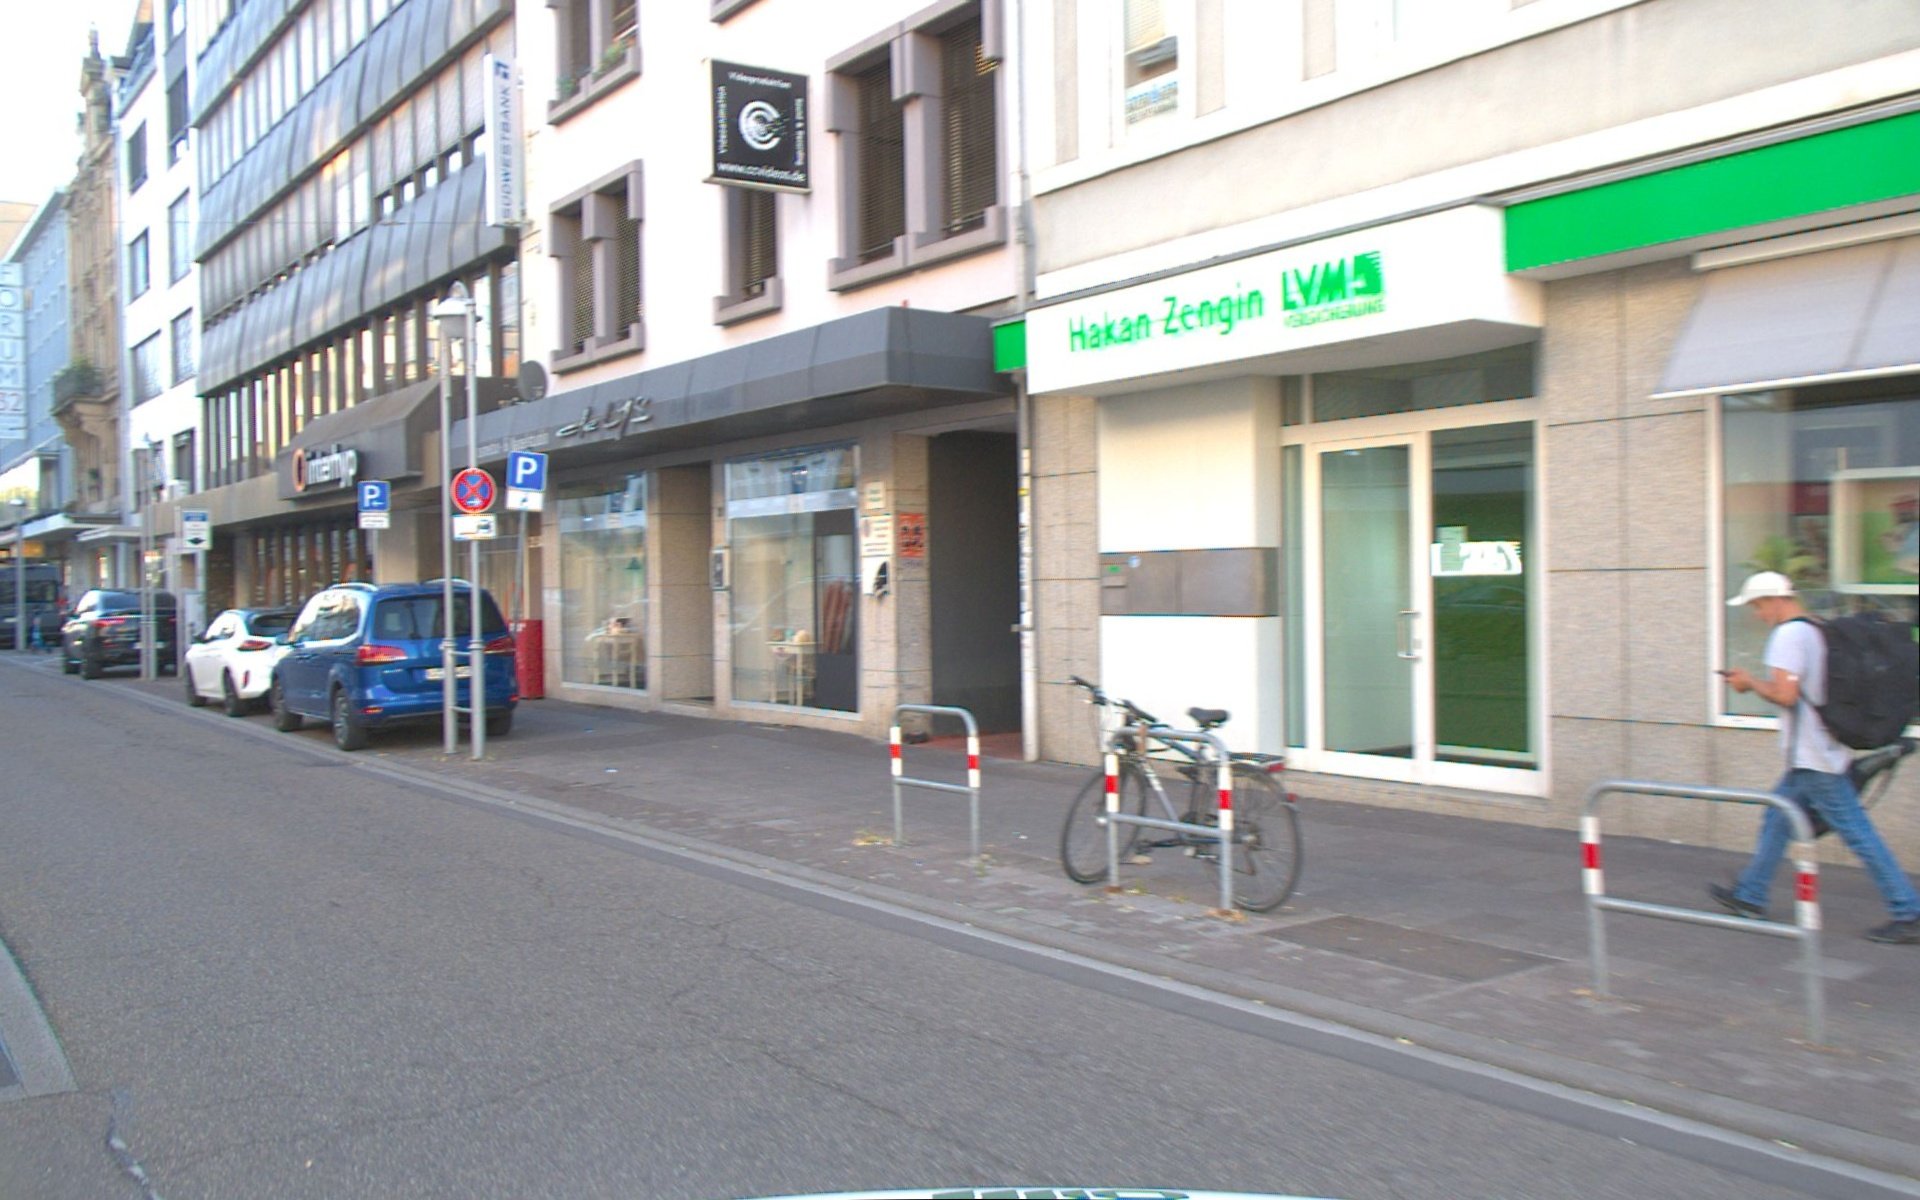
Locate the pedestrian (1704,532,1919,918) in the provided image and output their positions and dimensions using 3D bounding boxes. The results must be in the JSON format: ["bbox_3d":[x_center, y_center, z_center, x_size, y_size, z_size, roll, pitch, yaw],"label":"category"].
[{"bbox_3d":[3.890,0.503,7.294,0.691,1.575,0.860,-2,0,-34],"label":"pedestrian"}]

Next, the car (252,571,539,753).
[{"bbox_3d":[-6.634,0.626,19.126,1.900,1.746,4.507,-4,2,-35],"label":"car"}]

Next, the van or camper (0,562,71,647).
[{"bbox_3d":[-29.995,0.144,52.572,2.172,2.468,6.054,-4,2,-36],"label":"van or camper"}]

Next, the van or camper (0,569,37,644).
[{"bbox_3d":[-33.907,0.266,57.681,2.173,2.468,5.444,-4,2,-37],"label":"van or camper"}]

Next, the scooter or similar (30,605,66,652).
[{"bbox_3d":[-25.435,0.793,46.152,0.347,1.245,1.115,-3,2,-3],"label":"scooter or similar"}]

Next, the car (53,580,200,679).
[{"bbox_3d":[-16.969,0.559,33.564,1.968,1.764,4.613,-4,2,-35],"label":"car"}]

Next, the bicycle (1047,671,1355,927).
[{"bbox_3d":[1.176,0.948,8.380,0.474,1.108,1.625,-3,1,-39],"label":"bicycle"}]

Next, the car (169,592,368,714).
[{"bbox_3d":[-10.047,0.710,23.887,1.753,1.511,3.823,-4,2,-36],"label":"car"}]
